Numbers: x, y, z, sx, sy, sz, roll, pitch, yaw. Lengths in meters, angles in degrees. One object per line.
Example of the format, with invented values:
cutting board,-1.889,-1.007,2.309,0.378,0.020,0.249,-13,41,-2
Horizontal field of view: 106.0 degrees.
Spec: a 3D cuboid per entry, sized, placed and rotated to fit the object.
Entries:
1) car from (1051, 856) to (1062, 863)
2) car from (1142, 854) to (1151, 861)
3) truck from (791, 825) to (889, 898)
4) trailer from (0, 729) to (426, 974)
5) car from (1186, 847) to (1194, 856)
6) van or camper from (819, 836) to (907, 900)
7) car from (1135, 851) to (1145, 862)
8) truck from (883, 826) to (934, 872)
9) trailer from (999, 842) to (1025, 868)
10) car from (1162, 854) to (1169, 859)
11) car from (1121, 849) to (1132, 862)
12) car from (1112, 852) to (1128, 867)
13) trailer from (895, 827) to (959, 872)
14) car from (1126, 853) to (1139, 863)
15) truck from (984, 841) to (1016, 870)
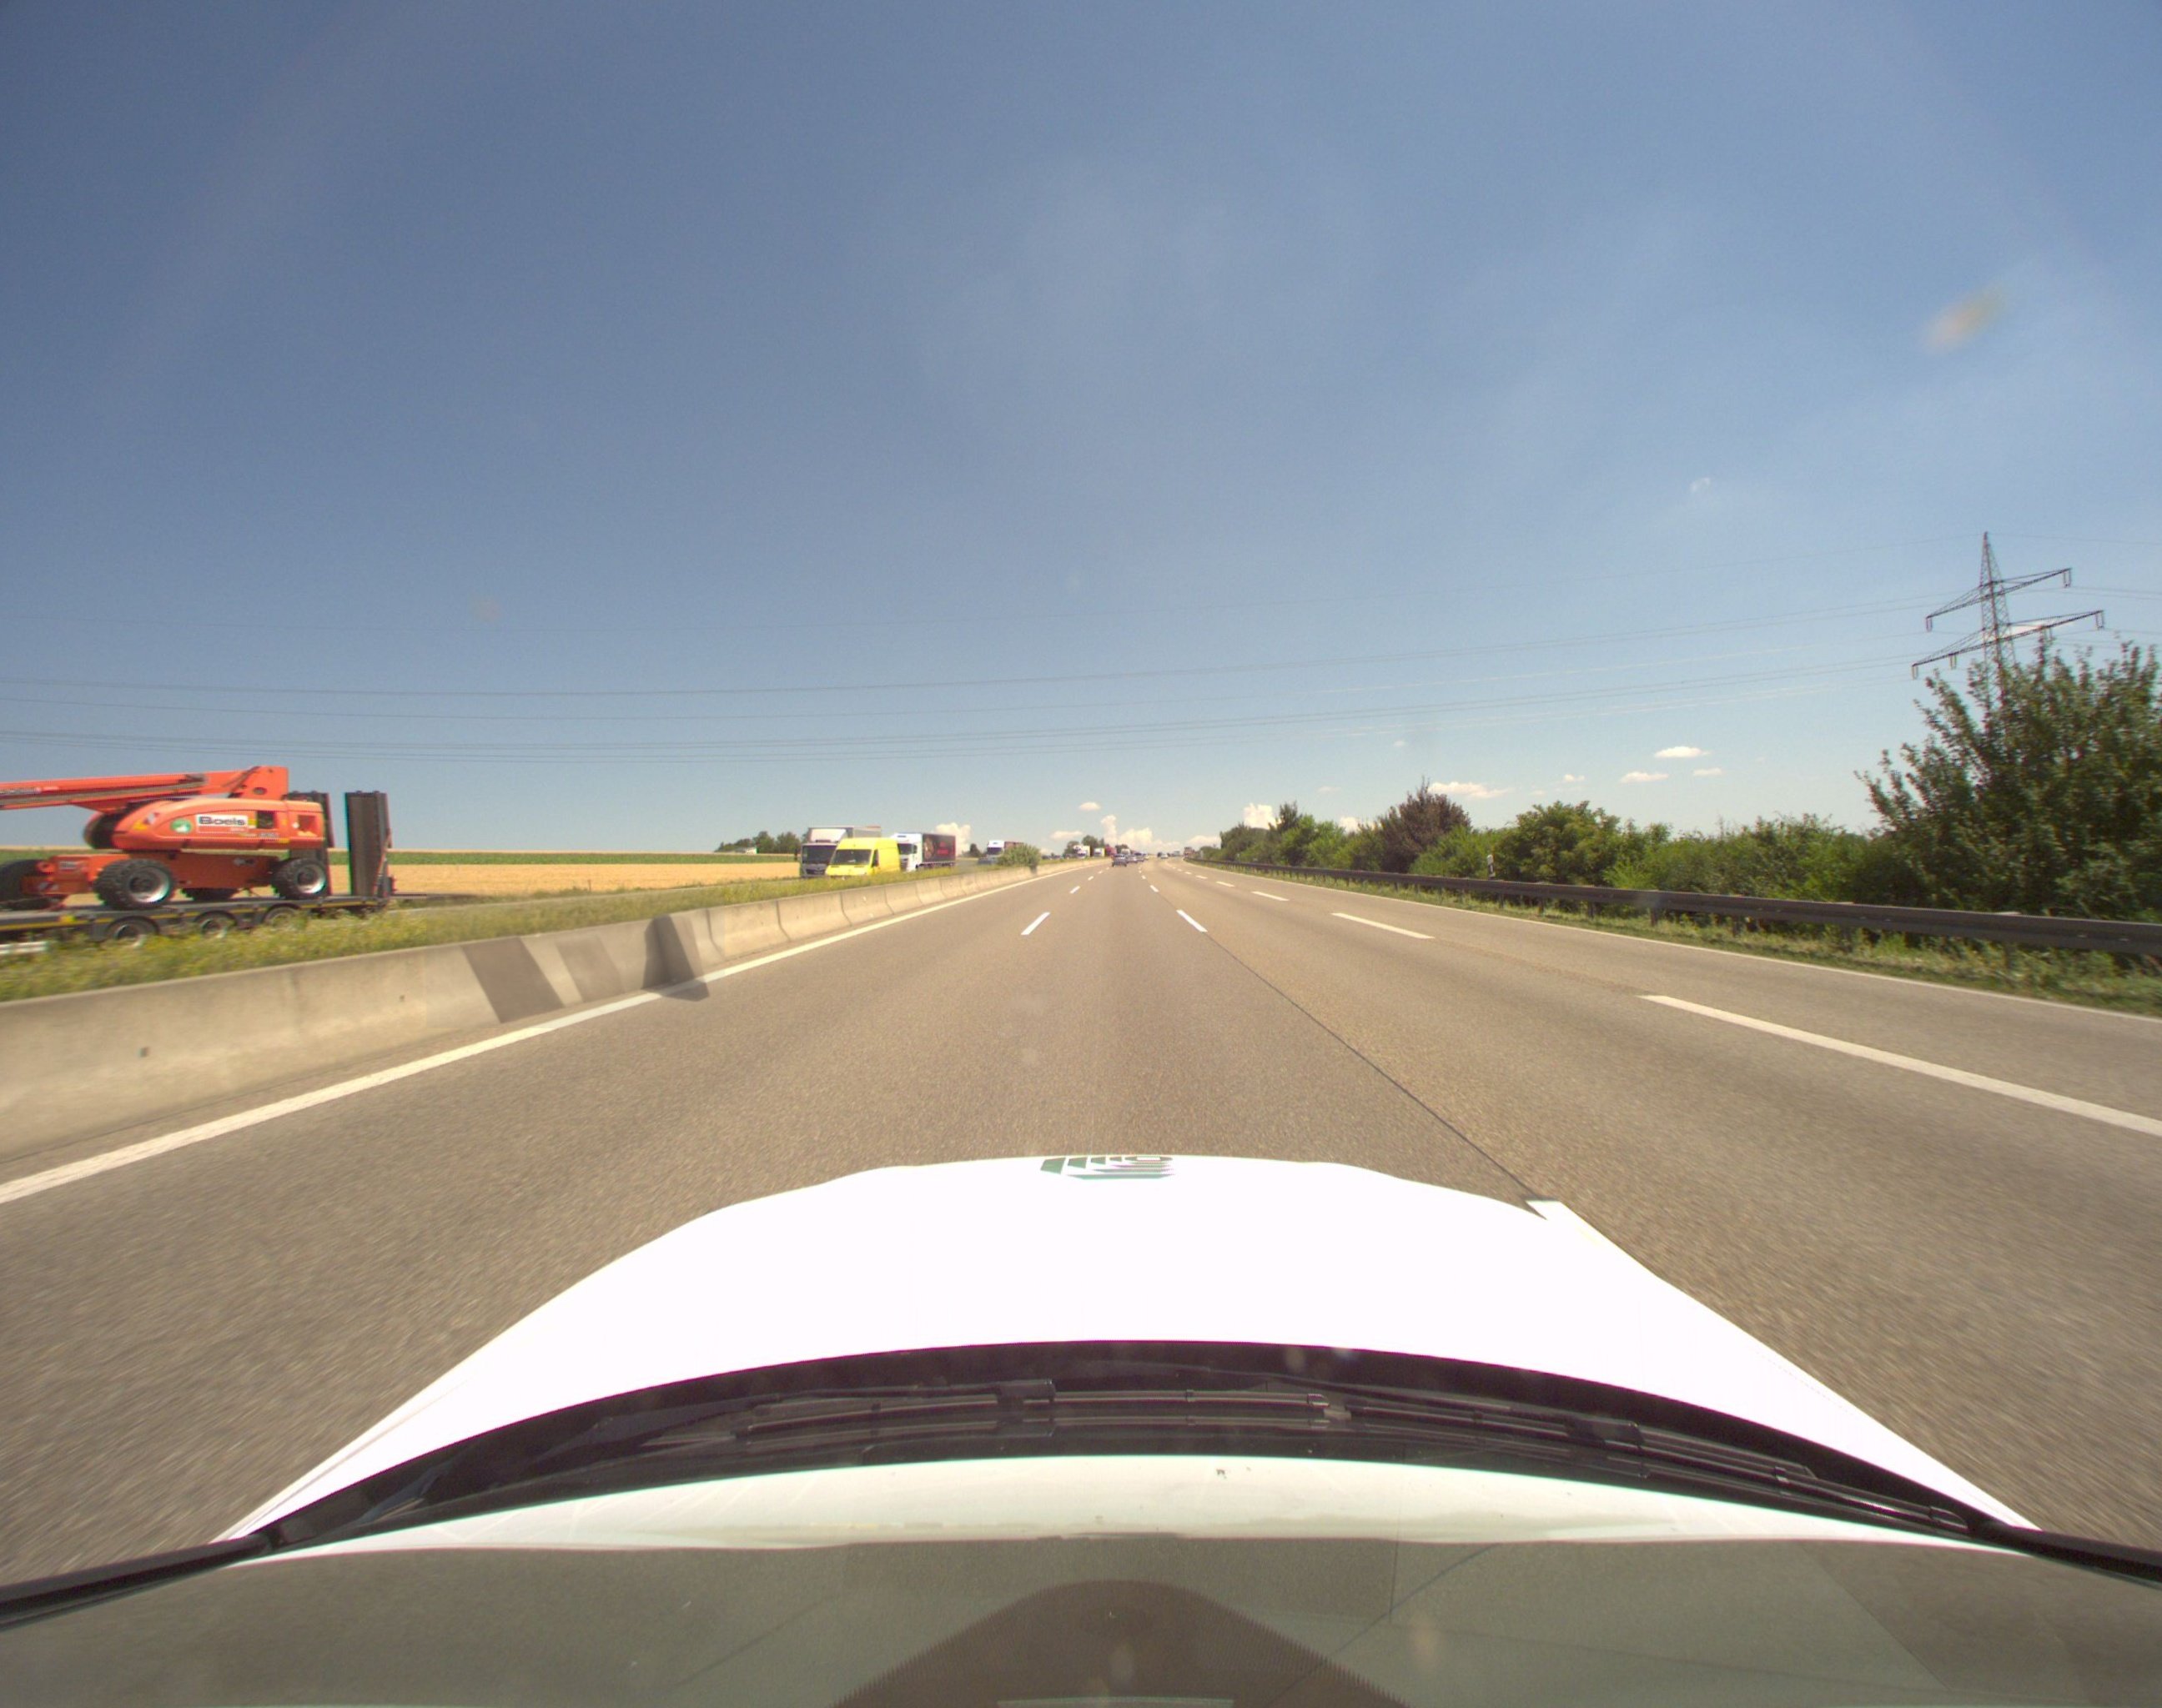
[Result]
car,-5.705,1.224,188.931,1.984,1.618,4.005,-1,0,4
car,15.536,0.750,193.835,1.984,1.552,4.005,0,0,4
truck,-13.425,0.361,46.190,2.924,3.743,7.784,-1,0,2
trailer,-18.857,-0.022,14.522,2.828,3.958,13.735,-1,0,2
car,29.735,-0.621,222.186,1.983,2.301,6.276,-1,0,7
van or camper,-9.932,0.586,37.688,2.076,2.707,6.143,-1,0,3
car,11.404,0.572,157.501,1.984,1.904,4.004,-1,-3,4
truck,-15.849,-0.410,75.403,2.840,4.027,6.522,-1,0,4
trailer,-11.293,0.189,133.990,2.763,4.183,9.190,-1,0,5
car,22.869,0.696,220.479,1.891,1.442,4.008,-1,0,7
car,9.942,0.408,176.850,2.169,2.625,4.678,-1,-3,5
car,4.896,0.713,103.499,1.986,1.750,4.000,-1,-3,2
trailer,-15.275,-0.394,82.251,2.780,4.105,14.023,-1,0,4
car,8.562,0.705,134.830,1.984,1.585,4.004,-2,-2,4
truck,-12.227,0.242,123.766,2.874,4.171,10.637,-1,0,5
